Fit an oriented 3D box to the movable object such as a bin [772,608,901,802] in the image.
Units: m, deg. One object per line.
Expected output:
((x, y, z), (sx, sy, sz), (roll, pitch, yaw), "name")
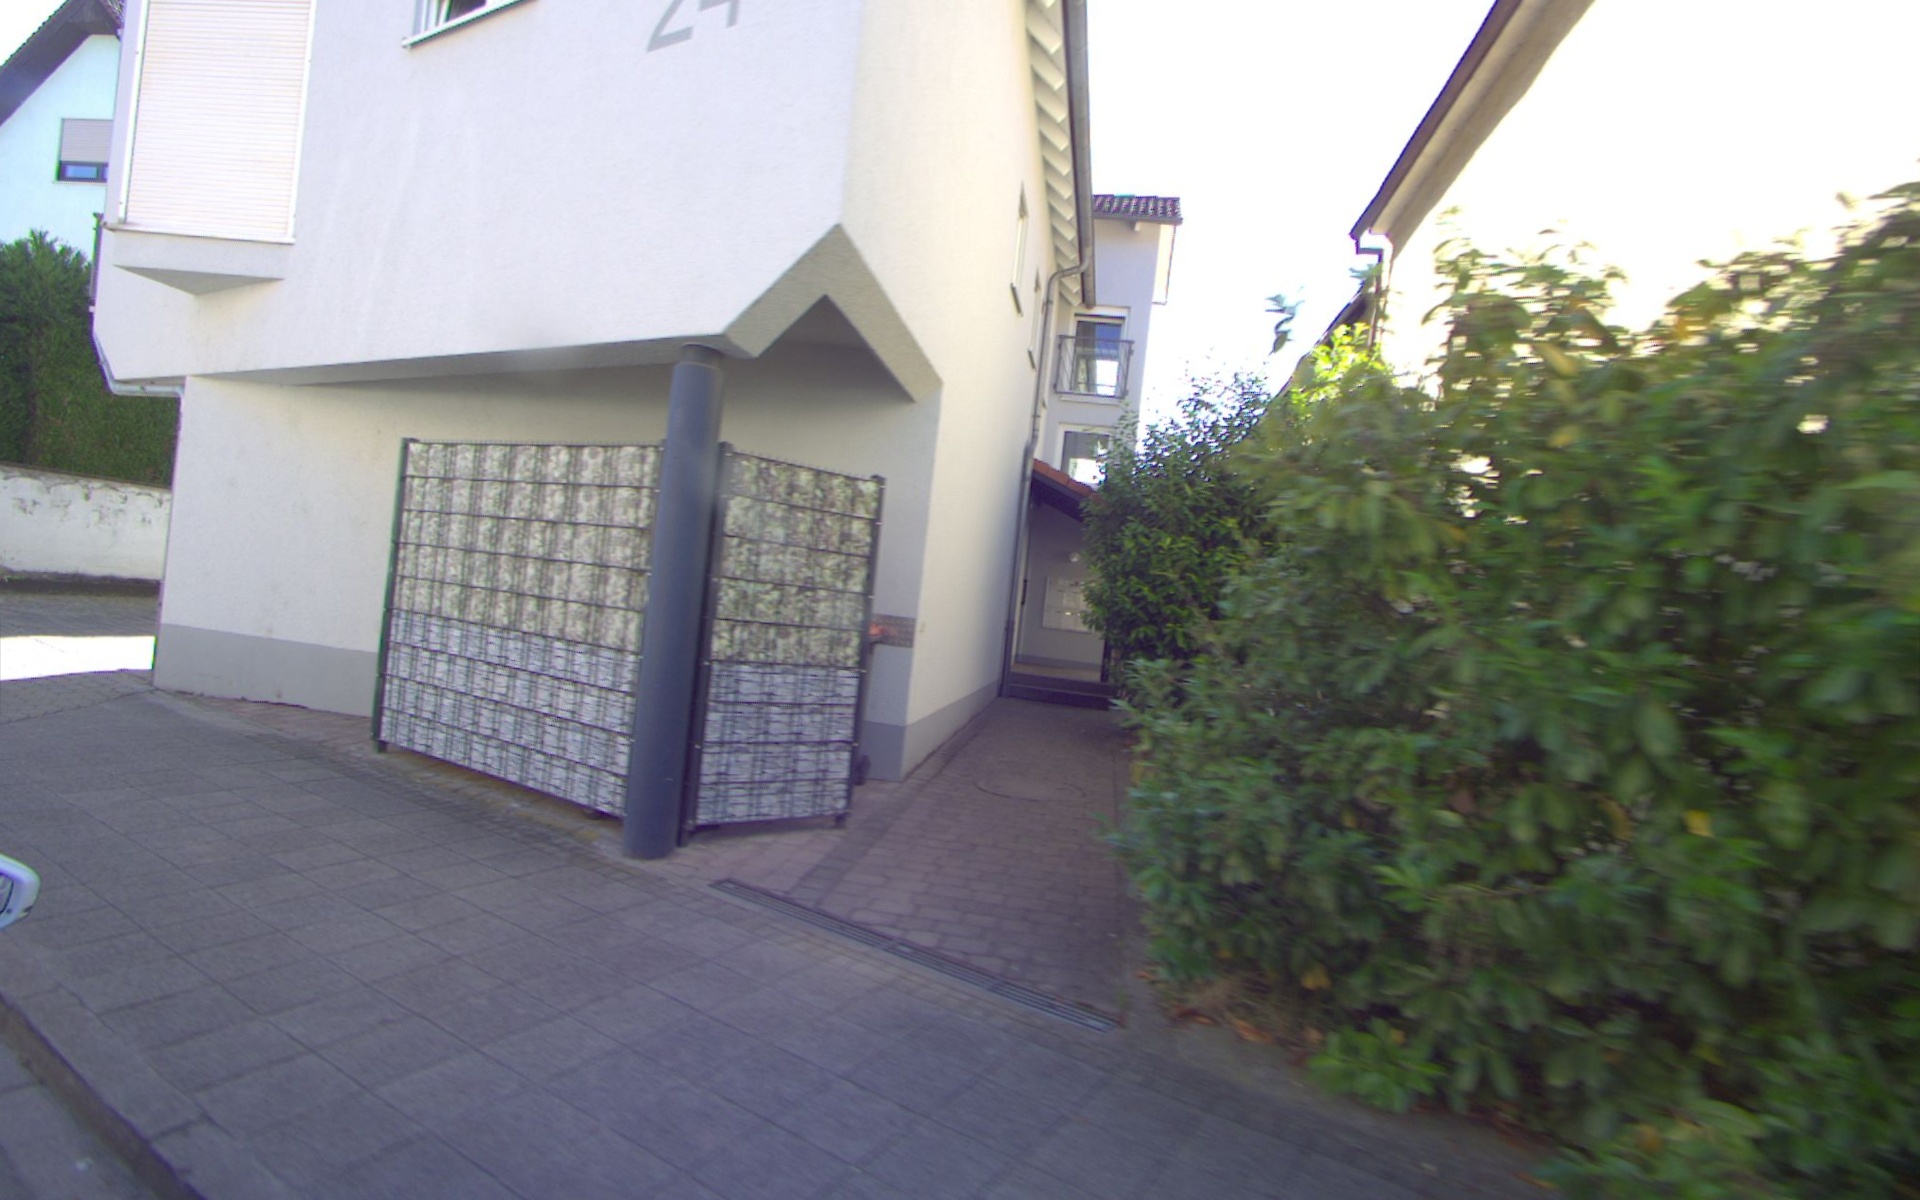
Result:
((-0.784, 0.649, 6.501), (0.574, 1.143, 0.601), (5, 1, 14), "movable object such as a bin")

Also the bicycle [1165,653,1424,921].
((1.767, 0.939, 5.667), (0.688, 1.092, 1.805), (6, 1, -2), "bicycle")

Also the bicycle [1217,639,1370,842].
((2.359, 0.931, 7.342), (0.688, 1.165, 1.806), (6, 1, 10), "bicycle")

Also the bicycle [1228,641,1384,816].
((2.839, 1.005, 8.469), (0.688, 1.165, 1.806), (6, 1, 4), "bicycle")
